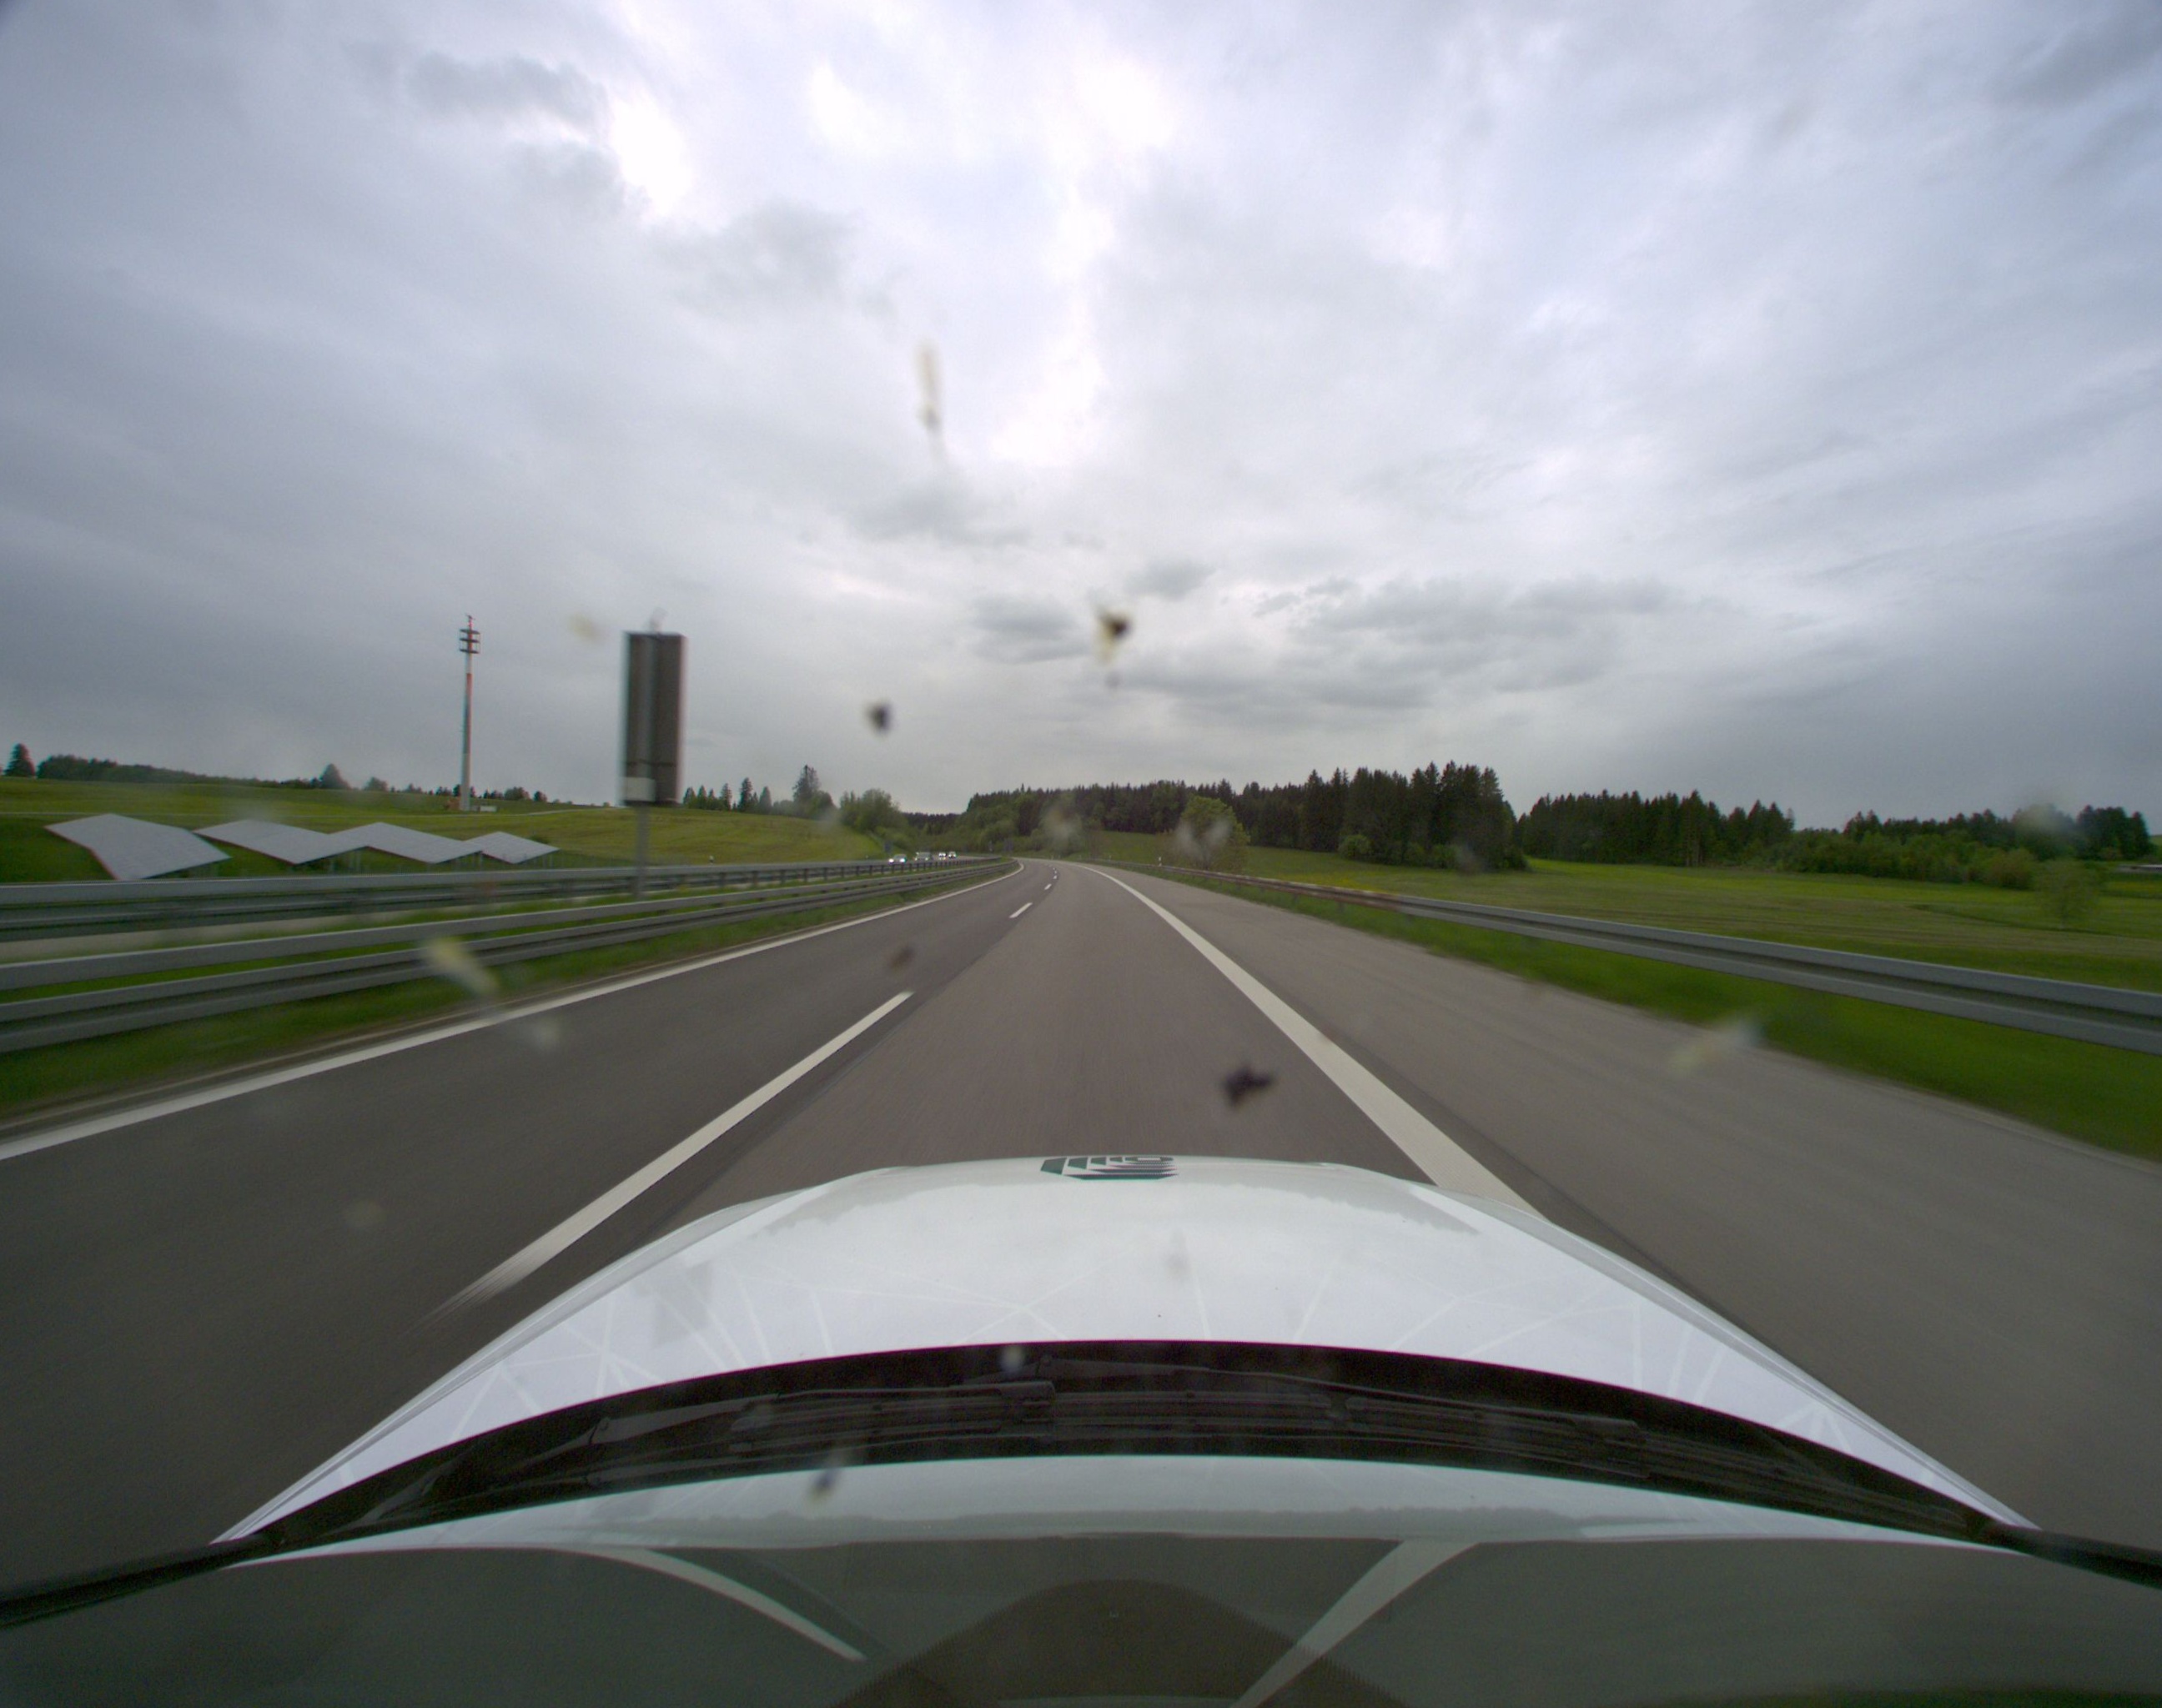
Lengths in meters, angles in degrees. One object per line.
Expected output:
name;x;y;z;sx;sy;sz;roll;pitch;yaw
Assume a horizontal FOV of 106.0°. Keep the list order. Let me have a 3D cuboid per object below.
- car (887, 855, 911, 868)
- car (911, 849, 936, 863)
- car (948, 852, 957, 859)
car;-22.063;0.843;98.883;1.989;1.440;4.995;2;0;-2
car;-17.646;0.184;91.383;1.988;1.417;3.997;2;0;-2
car;-34.588;0.304;219.078;1.994;1.686;4.610;2;0;-11
